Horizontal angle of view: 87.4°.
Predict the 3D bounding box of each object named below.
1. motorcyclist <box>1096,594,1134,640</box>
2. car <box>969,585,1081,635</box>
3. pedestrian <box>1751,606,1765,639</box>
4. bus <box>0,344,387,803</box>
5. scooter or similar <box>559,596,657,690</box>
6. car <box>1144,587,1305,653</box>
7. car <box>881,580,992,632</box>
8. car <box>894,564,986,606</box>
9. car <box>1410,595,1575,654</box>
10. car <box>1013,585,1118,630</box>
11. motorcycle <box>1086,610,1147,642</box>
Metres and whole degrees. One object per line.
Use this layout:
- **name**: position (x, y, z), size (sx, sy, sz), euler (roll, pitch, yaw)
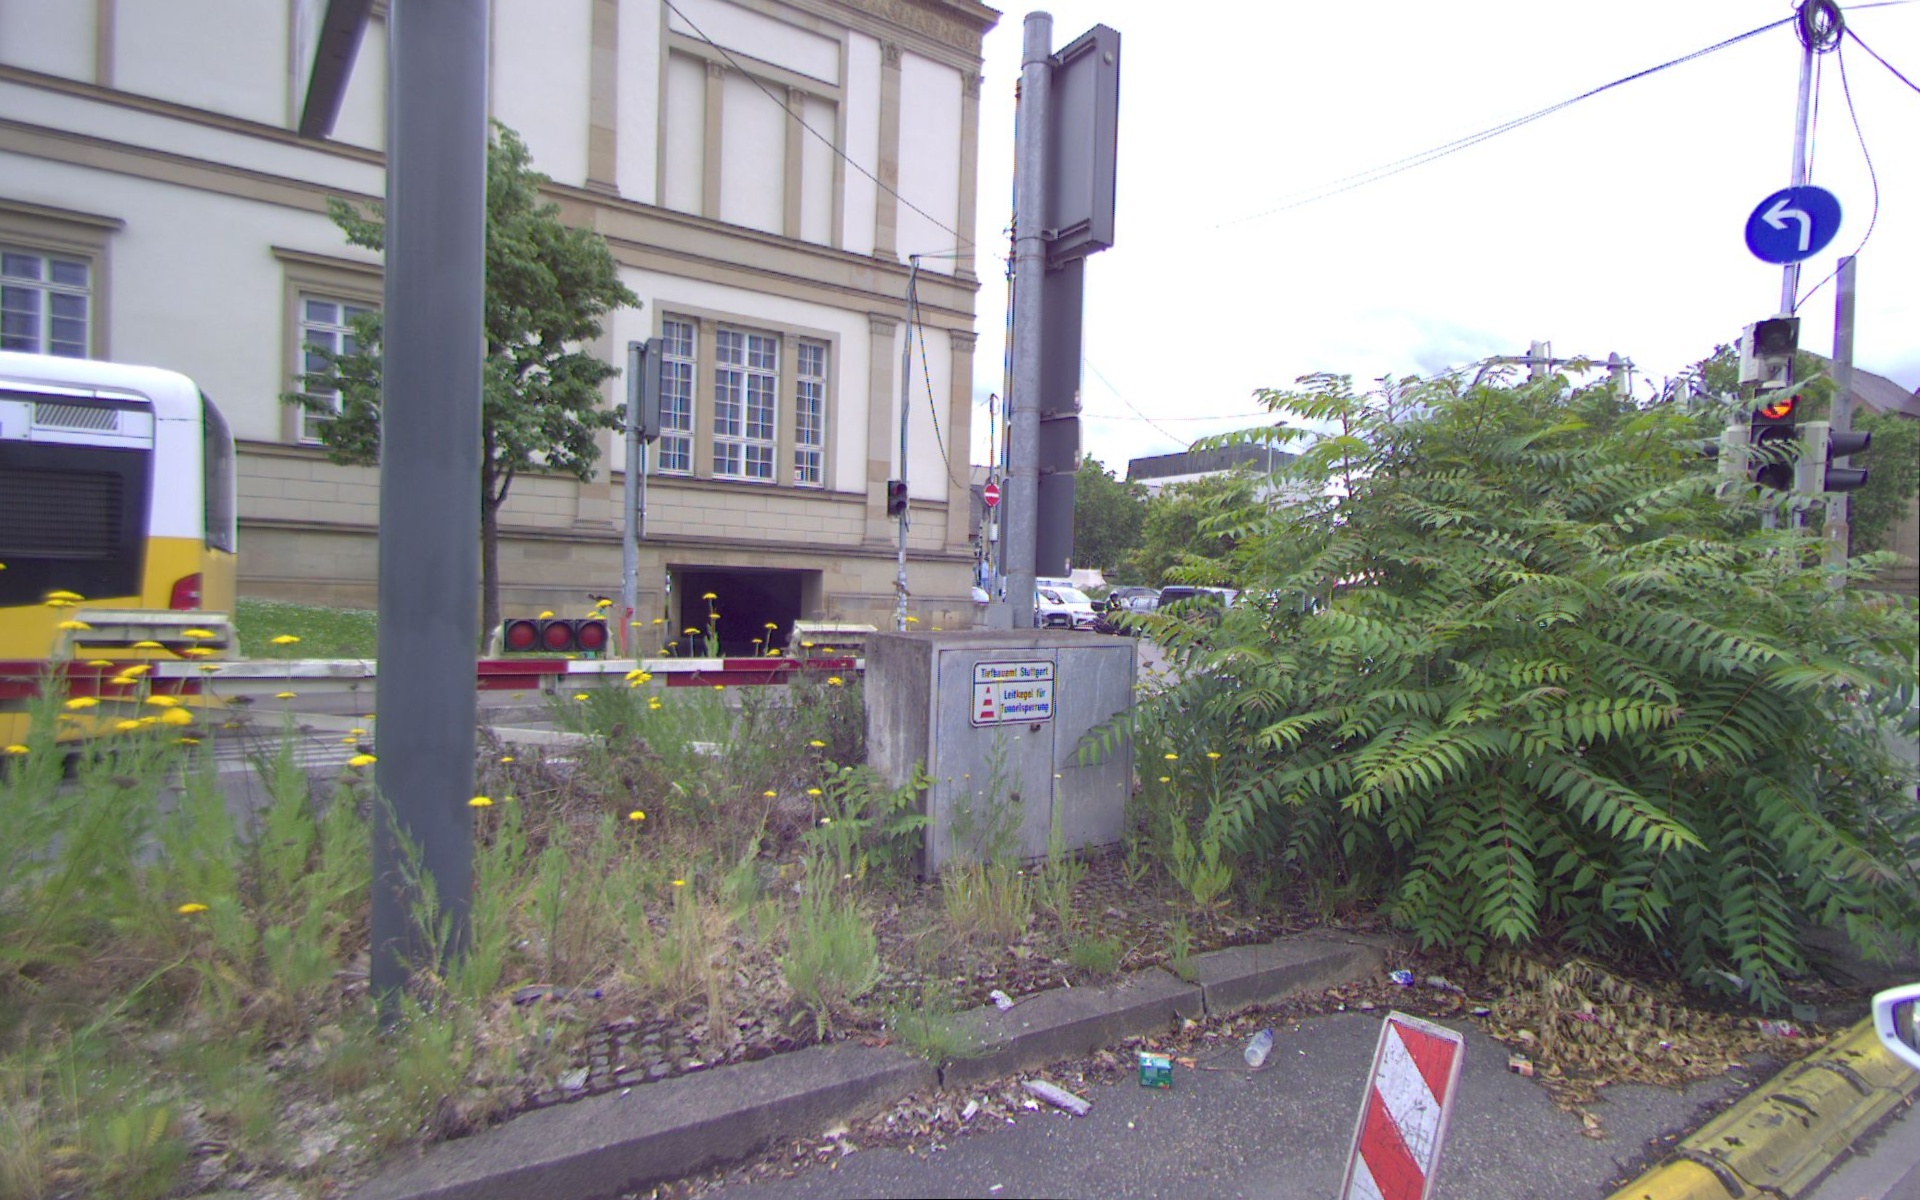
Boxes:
- **motorcyclist**: position (5.045, 0.542, 32.708), size (0.738, 1.442, 0.959), euler (1, 1, -35)
- **car**: position (2.363, 0.341, 37.635), size (1.979, 1.698, 4.285), euler (1, 1, -34)
- **pedestrian**: position (49.805, 1.386, 62.703), size (0.516, 2.040, 0.428), euler (2, 1, 17)
- **bus**: position (-9.201, -0.247, 6.967), size (9.018, 3.156, 2.831), euler (1, 1, -31)
- **scooter or similar**: position (-4.940, 0.592, 14.141), size (1.132, 1.190, 0.540), euler (6, 0, -10)
- **car**: position (7.593, 0.526, 29.218), size (1.979, 1.698, 4.285), euler (1, 1, -34)
- **car**: position (-0.906, 0.181, 35.926), size (1.979, 1.698, 4.285), euler (1, 1, -34)
- **car**: position (-0.938, -0.665, 43.692), size (1.979, 1.698, 4.285), euler (1, 1, -34)
- **car**: position (17.133, 0.743, 32.456), size (1.986, 1.698, 4.271), euler (1, 1, -43)
- **car**: position (4.226, 0.268, 40.931), size (1.979, 1.698, 4.285), euler (1, 1, -34)
- **motorcycle**: position (5.075, 0.836, 32.659), size (0.749, 0.937, 2.042), euler (1, 1, -35)
